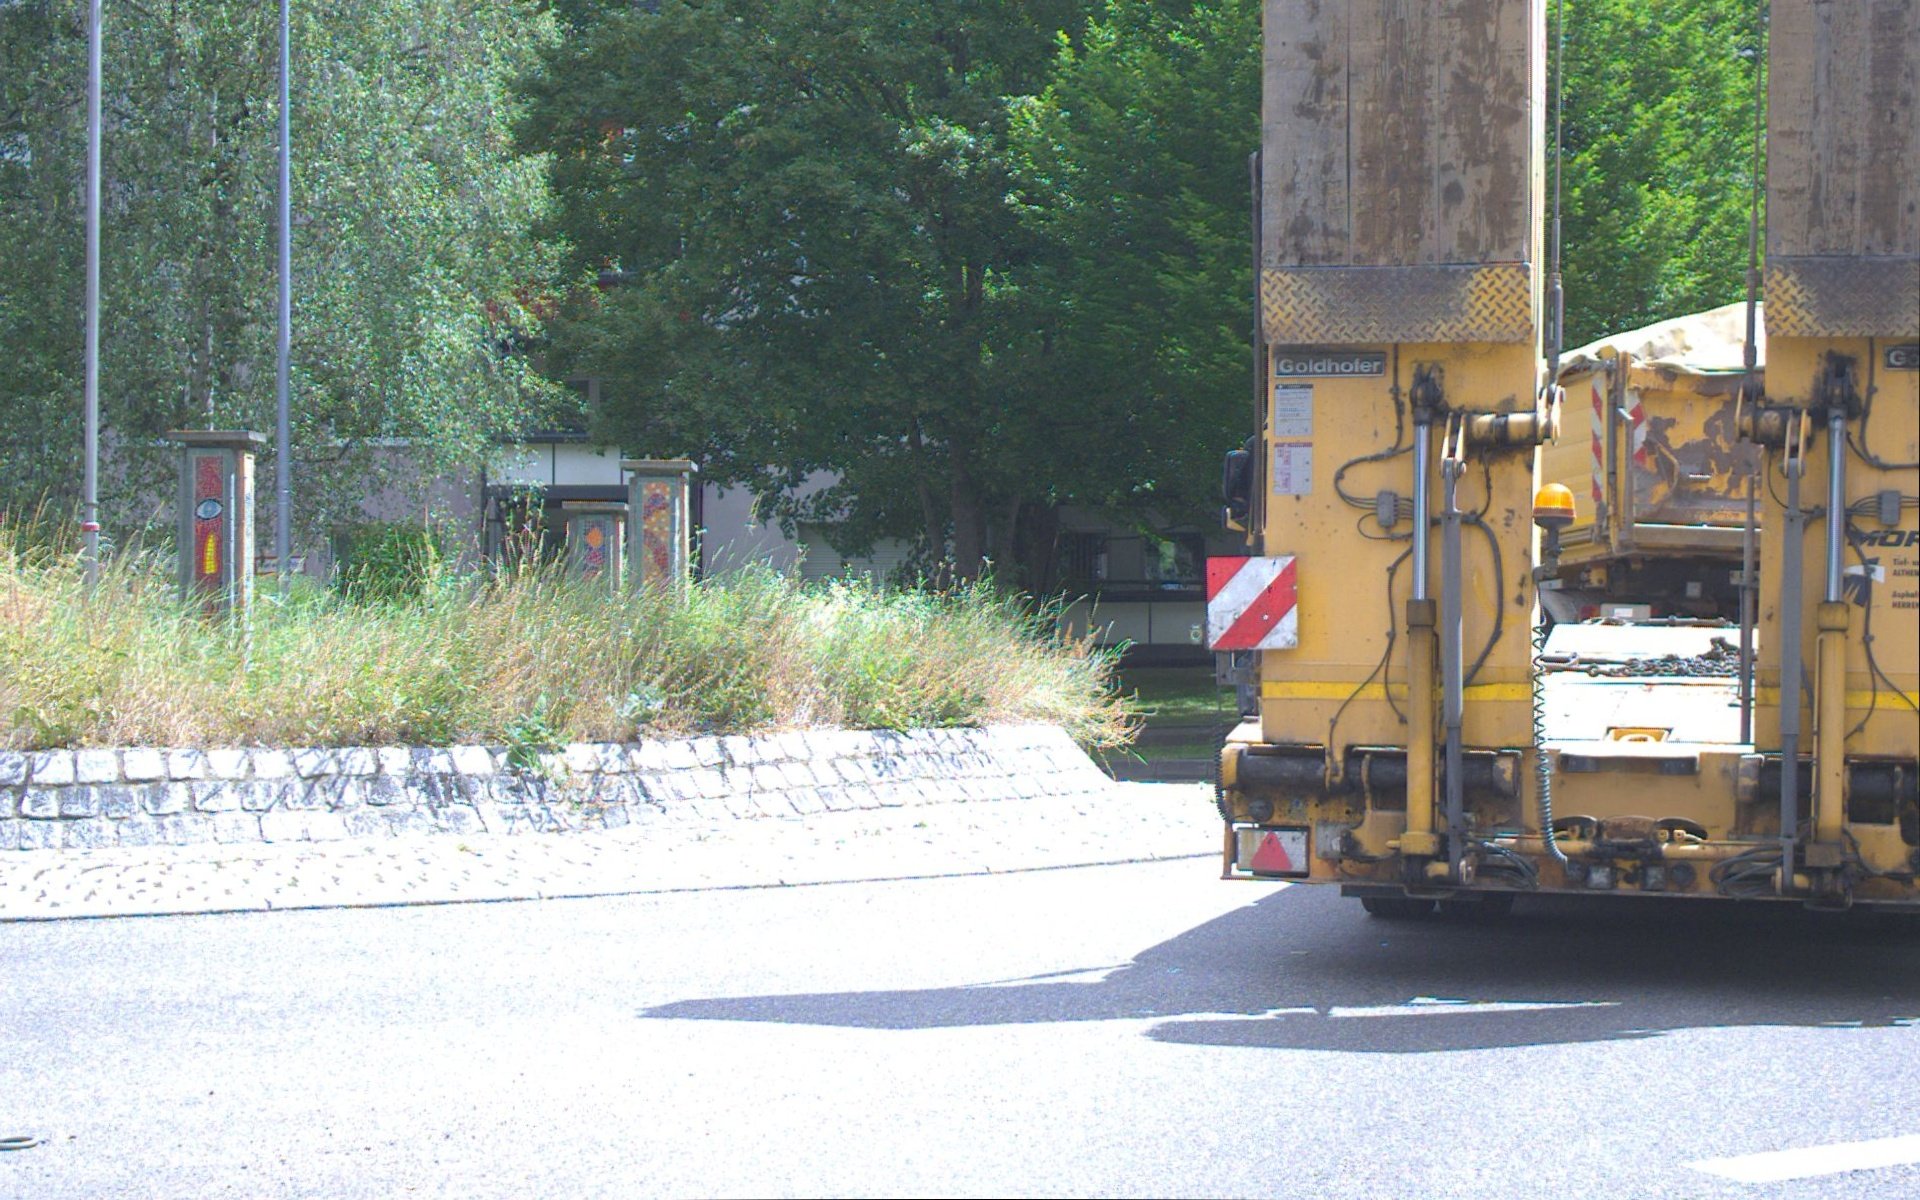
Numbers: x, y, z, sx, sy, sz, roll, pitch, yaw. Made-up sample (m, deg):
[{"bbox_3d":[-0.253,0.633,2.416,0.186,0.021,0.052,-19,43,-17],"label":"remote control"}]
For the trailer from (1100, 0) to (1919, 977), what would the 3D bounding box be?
[{"bbox_3d":[3.358,-0.614,15.344,2.866,3.361,10.832,1,0,16],"label":"trailer"}]

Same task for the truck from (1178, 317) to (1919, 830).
[{"bbox_3d":[4.284,-0.197,24.737,2.987,3.024,8.488,-1,0,-14],"label":"truck"}]
